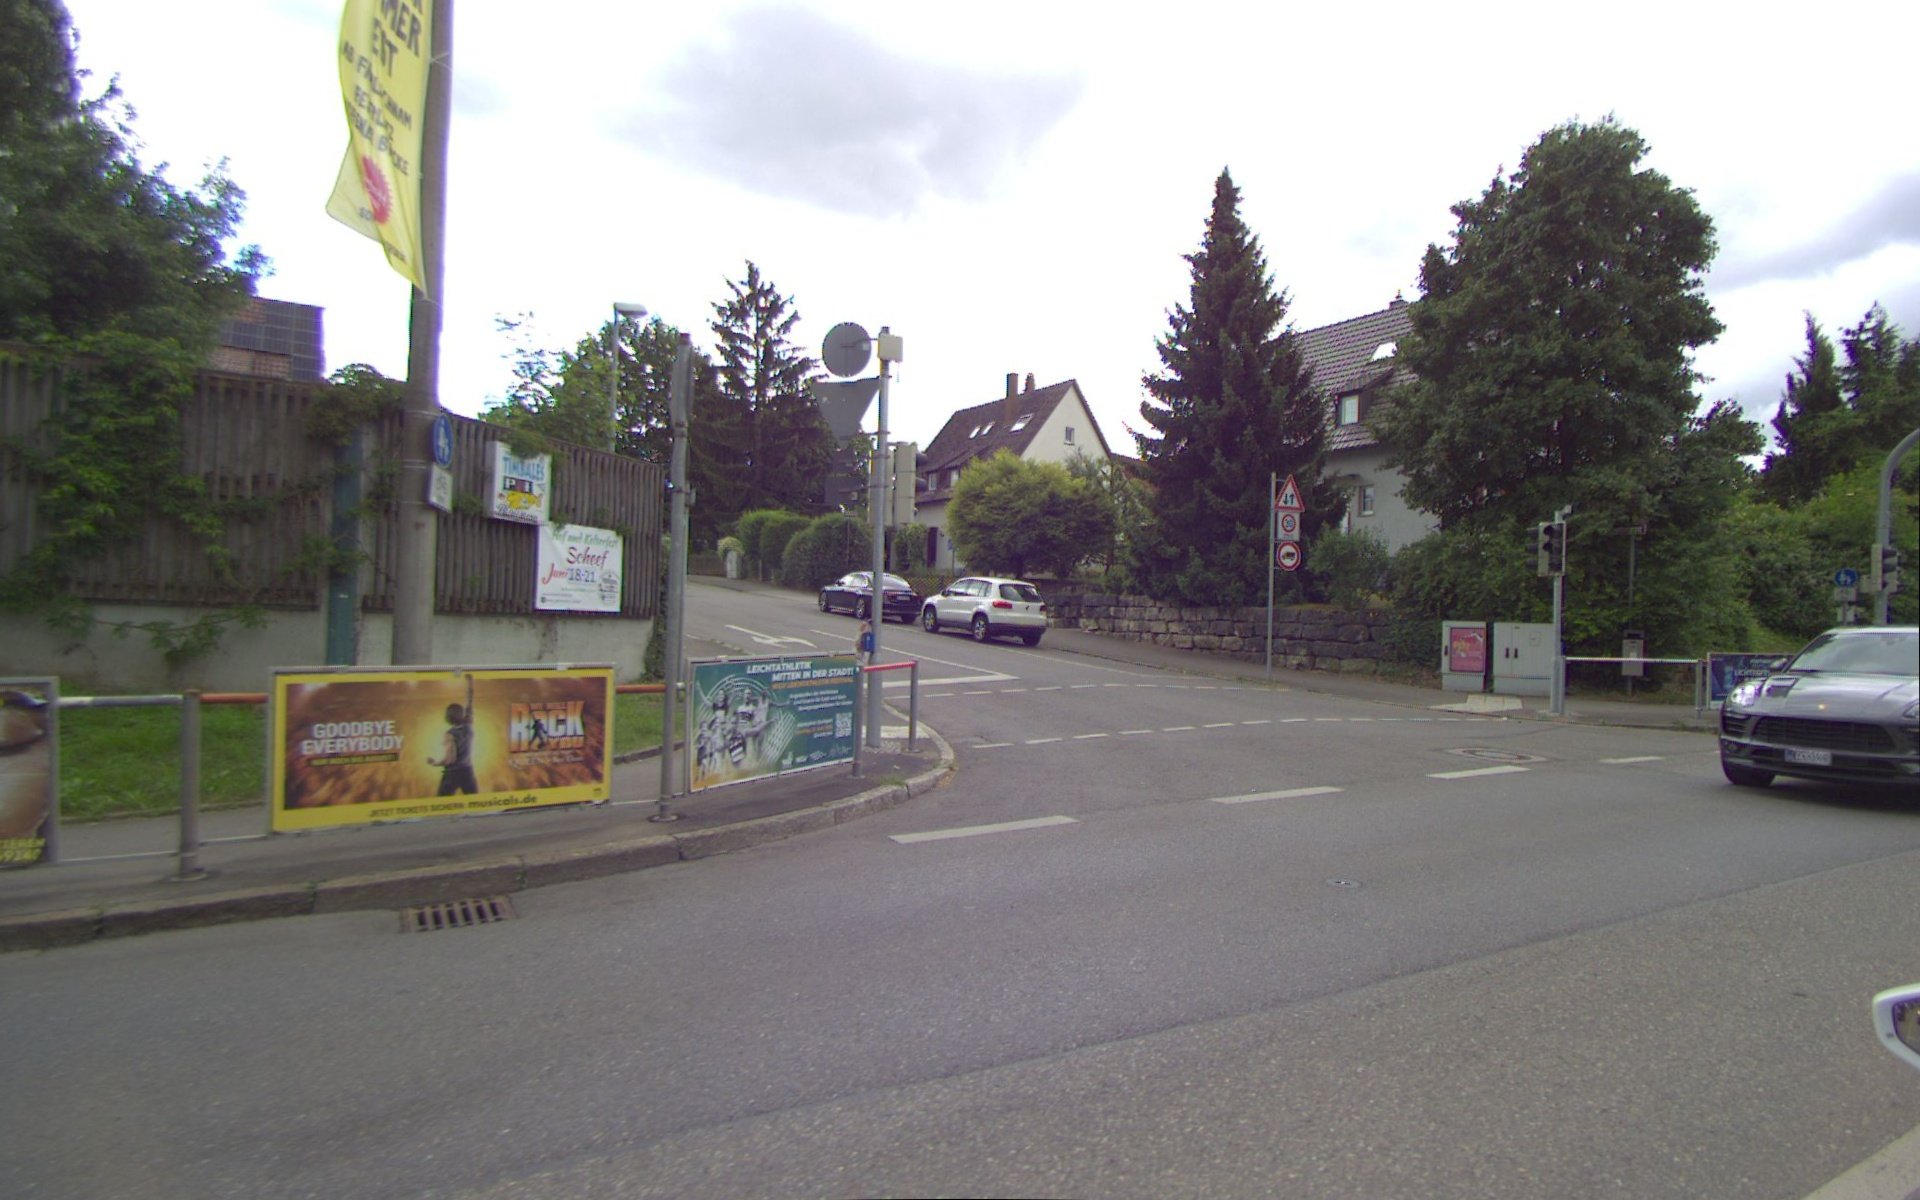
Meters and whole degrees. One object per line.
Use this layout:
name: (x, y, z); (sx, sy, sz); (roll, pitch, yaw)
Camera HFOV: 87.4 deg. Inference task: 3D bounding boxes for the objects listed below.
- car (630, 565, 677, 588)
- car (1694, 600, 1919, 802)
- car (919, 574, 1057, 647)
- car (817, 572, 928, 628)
car: (-16.839, -1.302, 55.166); (1.603, 1.218, 3.738); (1, 1, -31)
car: (9.346, 0.915, 9.907); (4.434, 1.595, 1.890); (3, 0, -33)
car: (0.662, 0.231, 26.838); (1.821, 1.620, 3.872); (1, 4, -32)
car: (-2.851, -0.050, 31.952); (1.694, 1.379, 4.336); (4, 2, -32)
